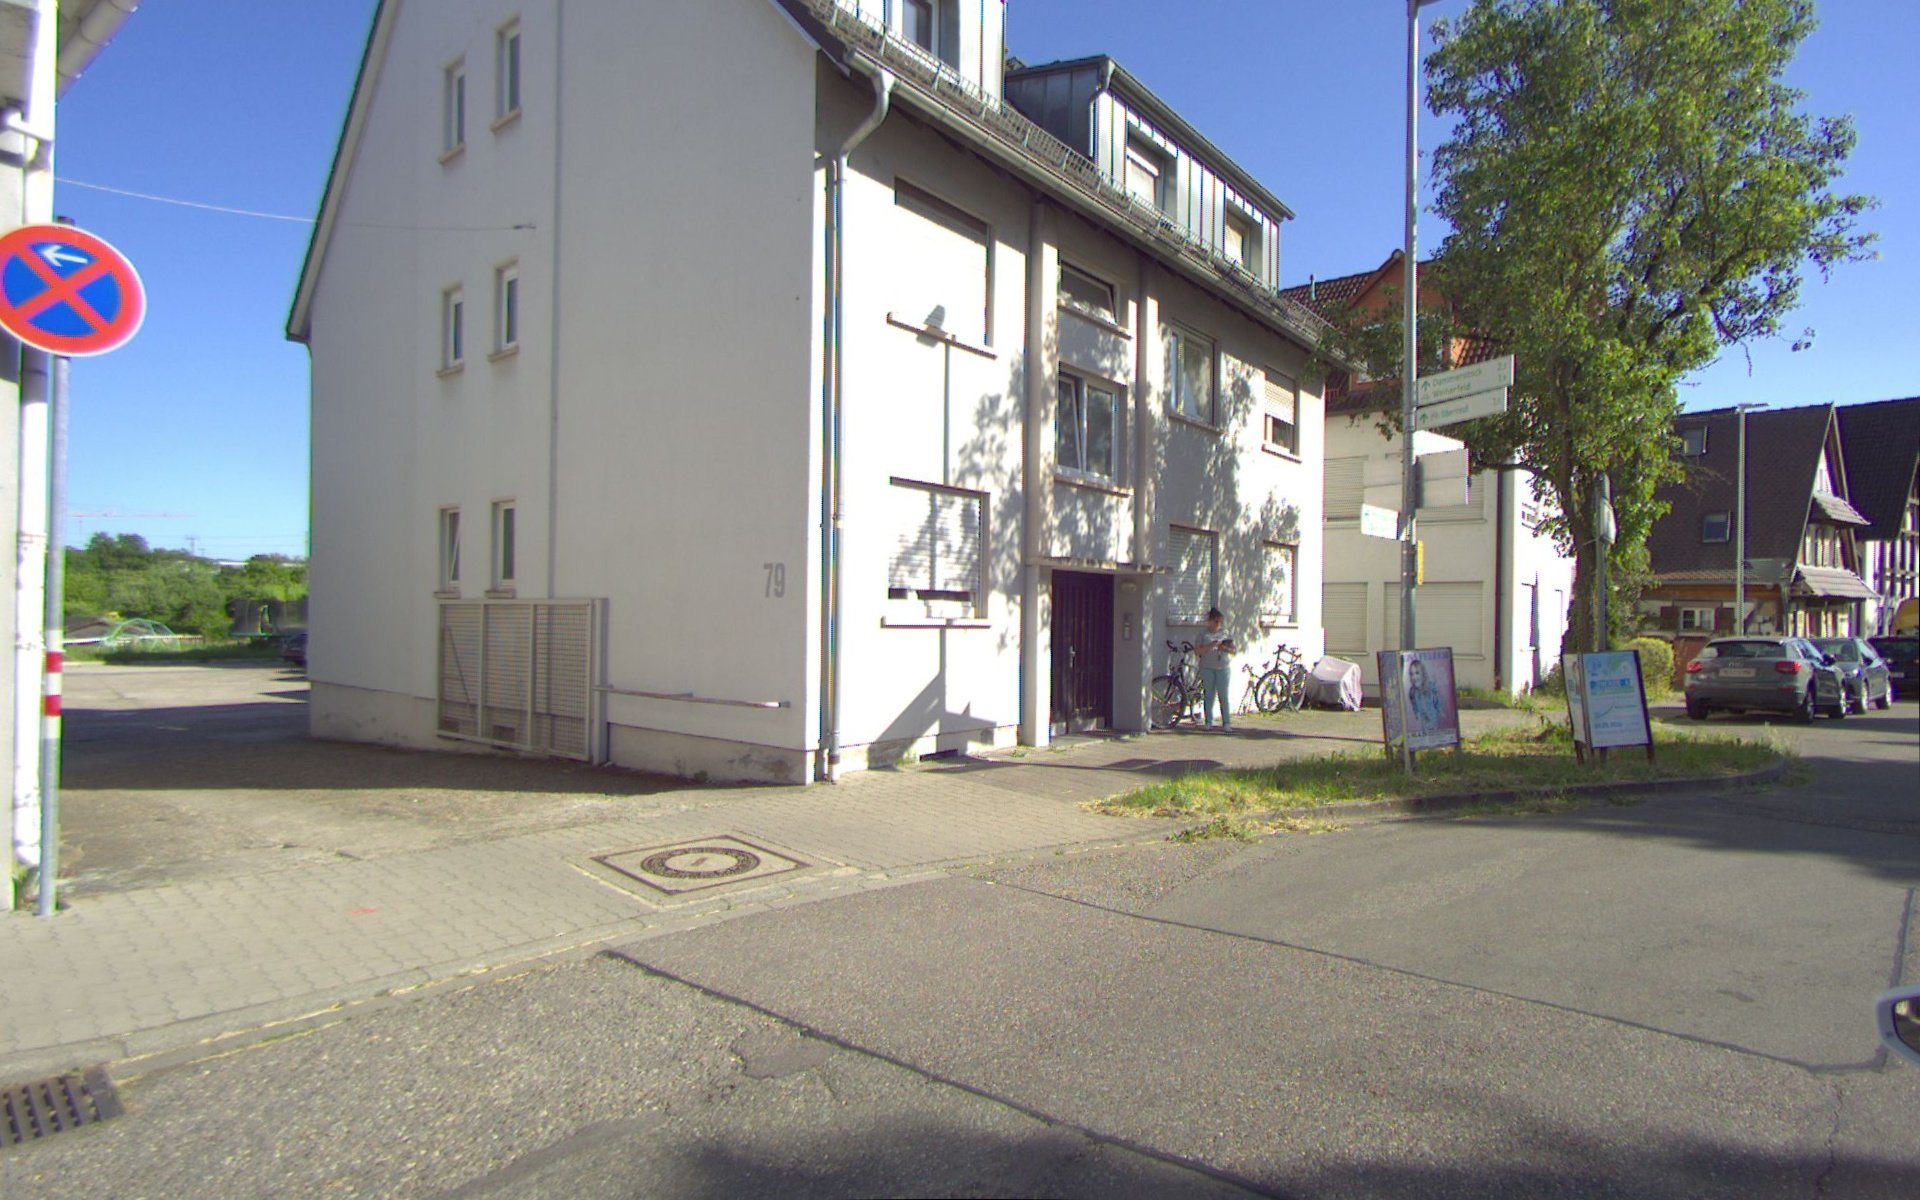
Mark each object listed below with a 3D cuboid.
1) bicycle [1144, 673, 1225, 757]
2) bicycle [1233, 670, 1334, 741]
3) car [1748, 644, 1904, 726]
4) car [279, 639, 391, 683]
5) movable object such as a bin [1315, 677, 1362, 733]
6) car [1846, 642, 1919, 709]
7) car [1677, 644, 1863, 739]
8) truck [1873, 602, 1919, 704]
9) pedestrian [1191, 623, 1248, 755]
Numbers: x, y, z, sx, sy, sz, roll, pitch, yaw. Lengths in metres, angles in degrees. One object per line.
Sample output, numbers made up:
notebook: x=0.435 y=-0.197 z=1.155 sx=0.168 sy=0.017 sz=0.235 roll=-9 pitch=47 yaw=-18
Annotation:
bicycle: x=3.058 y=1.526 z=13.626 sx=0.418 sy=1.066 sz=1.373 roll=-1 pitch=-3 yaw=43
bicycle: x=5.245 y=1.673 z=16.230 sx=2.020 sy=1.066 sz=0.573 roll=4 pitch=-3 yaw=-40
car: x=18.428 y=1.752 z=21.325 sx=4.072 sy=1.525 sz=1.792 roll=3 pitch=-2 yaw=-38
car: x=-27.758 y=2.670 z=44.647 sx=3.968 sy=1.873 sz=1.977 roll=2 pitch=-3 yaw=-40
movable object such as a bin: x=6.844 y=1.881 z=18.167 sx=0.618 sy=0.957 sz=0.658 roll=0 pitch=-3 yaw=38
car: x=25.327 y=1.992 z=26.876 sx=3.847 sy=1.643 sz=1.792 roll=3 pitch=-2 yaw=-38
car: x=15.042 y=1.619 z=18.590 sx=4.072 sy=1.525 sz=1.853 roll=3 pitch=-3 yaw=-38
truck: x=29.680 y=1.618 z=30.330 sx=5.732 sy=2.906 sz=2.250 roll=3 pitch=-2 yaw=-38
pedestrian: x=3.479 y=1.175 z=13.456 sx=0.553 sy=1.715 sz=0.479 roll=4 pitch=-3 yaw=-43
